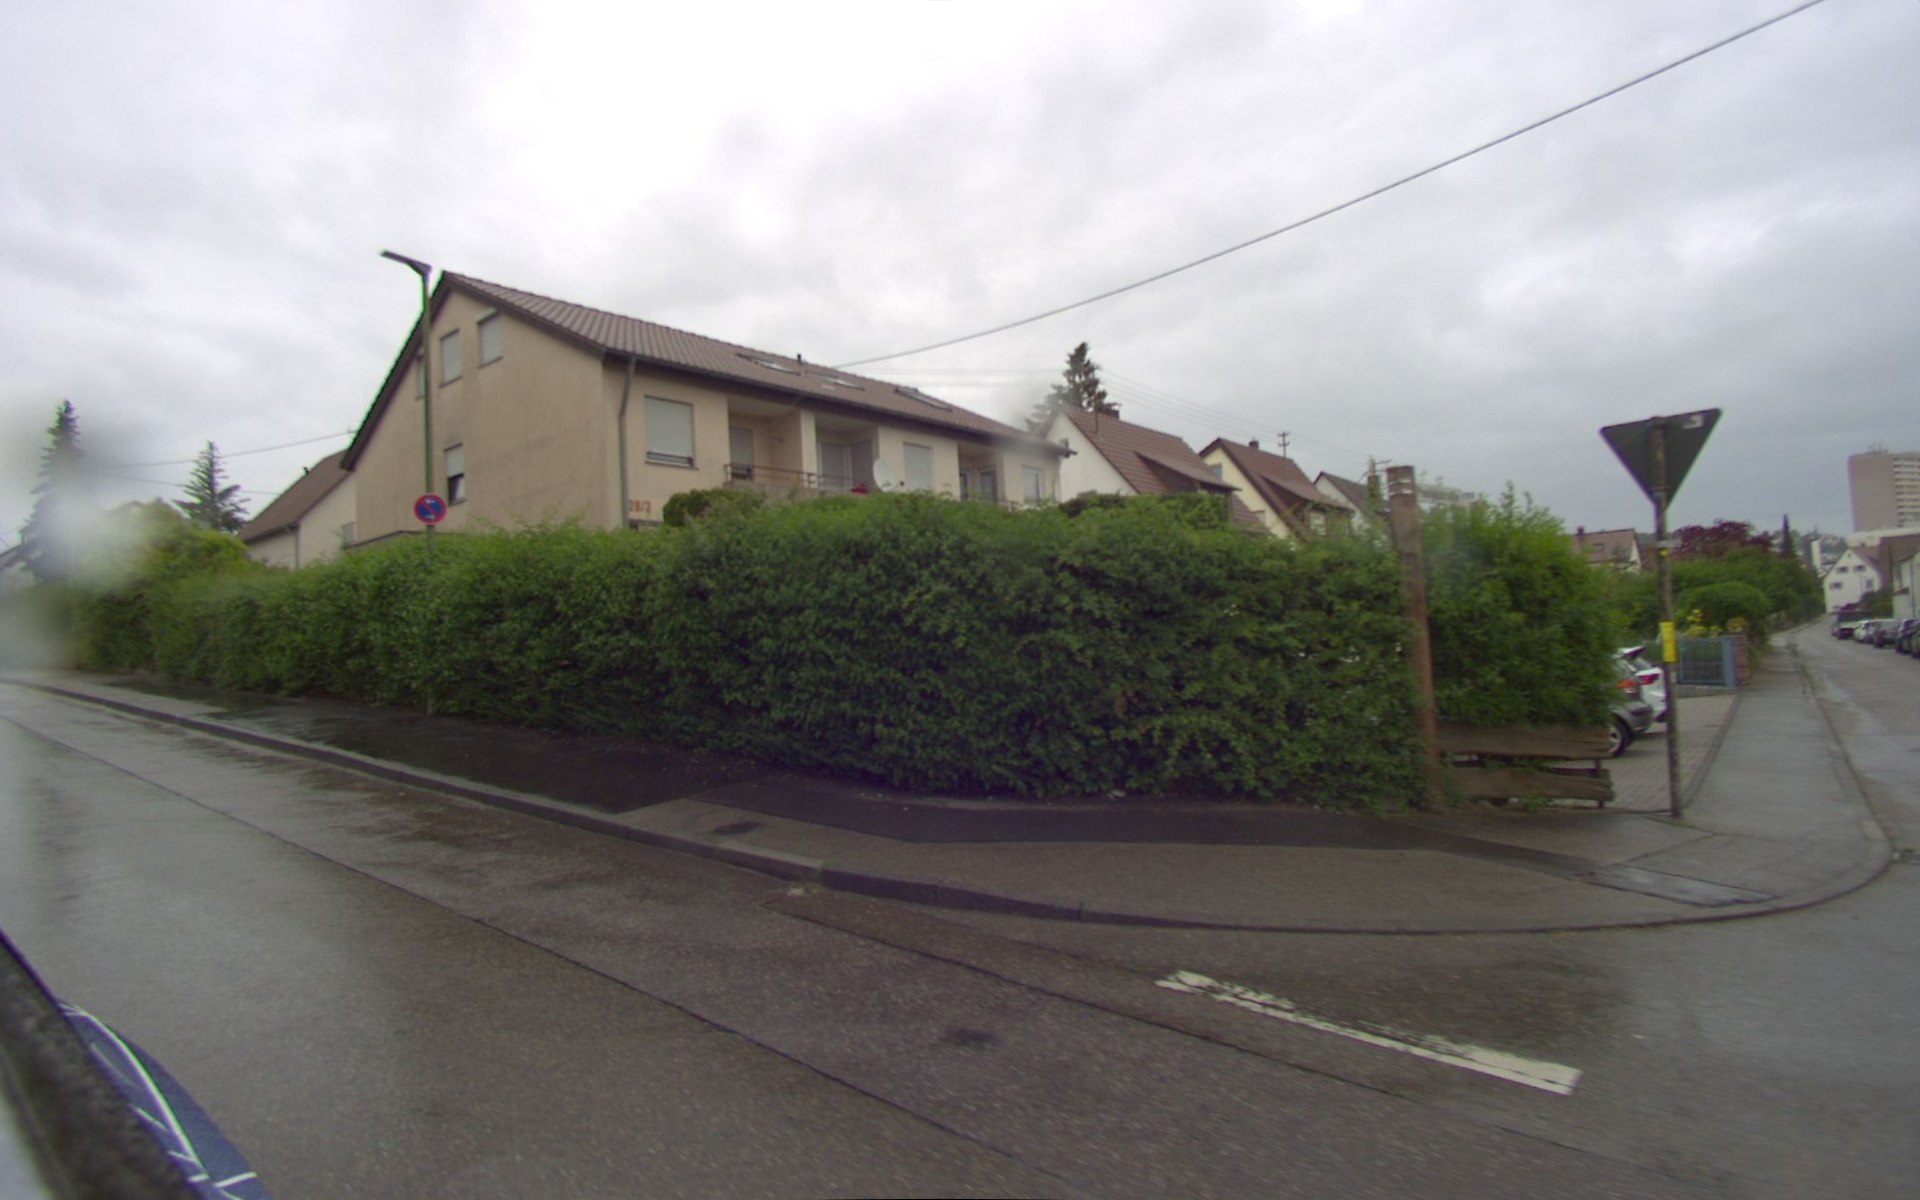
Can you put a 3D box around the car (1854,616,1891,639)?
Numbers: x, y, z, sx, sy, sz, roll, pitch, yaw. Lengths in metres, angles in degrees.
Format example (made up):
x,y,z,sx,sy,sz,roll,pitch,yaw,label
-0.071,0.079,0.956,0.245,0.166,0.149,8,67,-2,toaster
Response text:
x,y,z,sx,sy,sz,roll,pitch,yaw,label
63.984,1.956,70.996,1.747,1.489,4.031,-2,-4,41,car

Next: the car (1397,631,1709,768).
x,y,z,sx,sy,sz,roll,pitch,yaw,label
8.285,1.437,14.259,3.439,1.468,1.701,-12,-10,37,car

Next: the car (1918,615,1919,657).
x,y,z,sx,sy,sz,roll,pitch,yaw,label
36.809,1.312,37.373,1.819,1.611,4.031,-2,-4,41,car

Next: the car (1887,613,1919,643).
x,y,z,sx,sy,sz,roll,pitch,yaw,label
50.091,1.481,53.280,1.747,1.489,4.031,-2,-4,41,car

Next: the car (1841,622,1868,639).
x,y,z,sx,sy,sz,roll,pitch,yaw,label
83.045,2.821,94.023,1.747,1.489,4.031,-2,-4,41,car

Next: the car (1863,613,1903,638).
x,y,z,sx,sy,sz,roll,pitch,yaw,label
60.254,1.683,66.131,1.747,1.489,4.031,-2,-4,41,car

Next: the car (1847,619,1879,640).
x,y,z,sx,sy,sz,roll,pitch,yaw,label
69.640,2.280,78.088,1.747,1.489,4.048,-2,-4,41,car

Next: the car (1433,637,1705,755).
x,y,z,sx,sy,sz,roll,pitch,yaw,label
9.762,1.577,16.331,3.439,1.449,1.627,-12,-10,37,car

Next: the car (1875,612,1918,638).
x,y,z,sx,sy,sz,roll,pitch,yaw,label
57.520,1.576,62.214,1.747,1.489,4.031,-2,-4,41,car
